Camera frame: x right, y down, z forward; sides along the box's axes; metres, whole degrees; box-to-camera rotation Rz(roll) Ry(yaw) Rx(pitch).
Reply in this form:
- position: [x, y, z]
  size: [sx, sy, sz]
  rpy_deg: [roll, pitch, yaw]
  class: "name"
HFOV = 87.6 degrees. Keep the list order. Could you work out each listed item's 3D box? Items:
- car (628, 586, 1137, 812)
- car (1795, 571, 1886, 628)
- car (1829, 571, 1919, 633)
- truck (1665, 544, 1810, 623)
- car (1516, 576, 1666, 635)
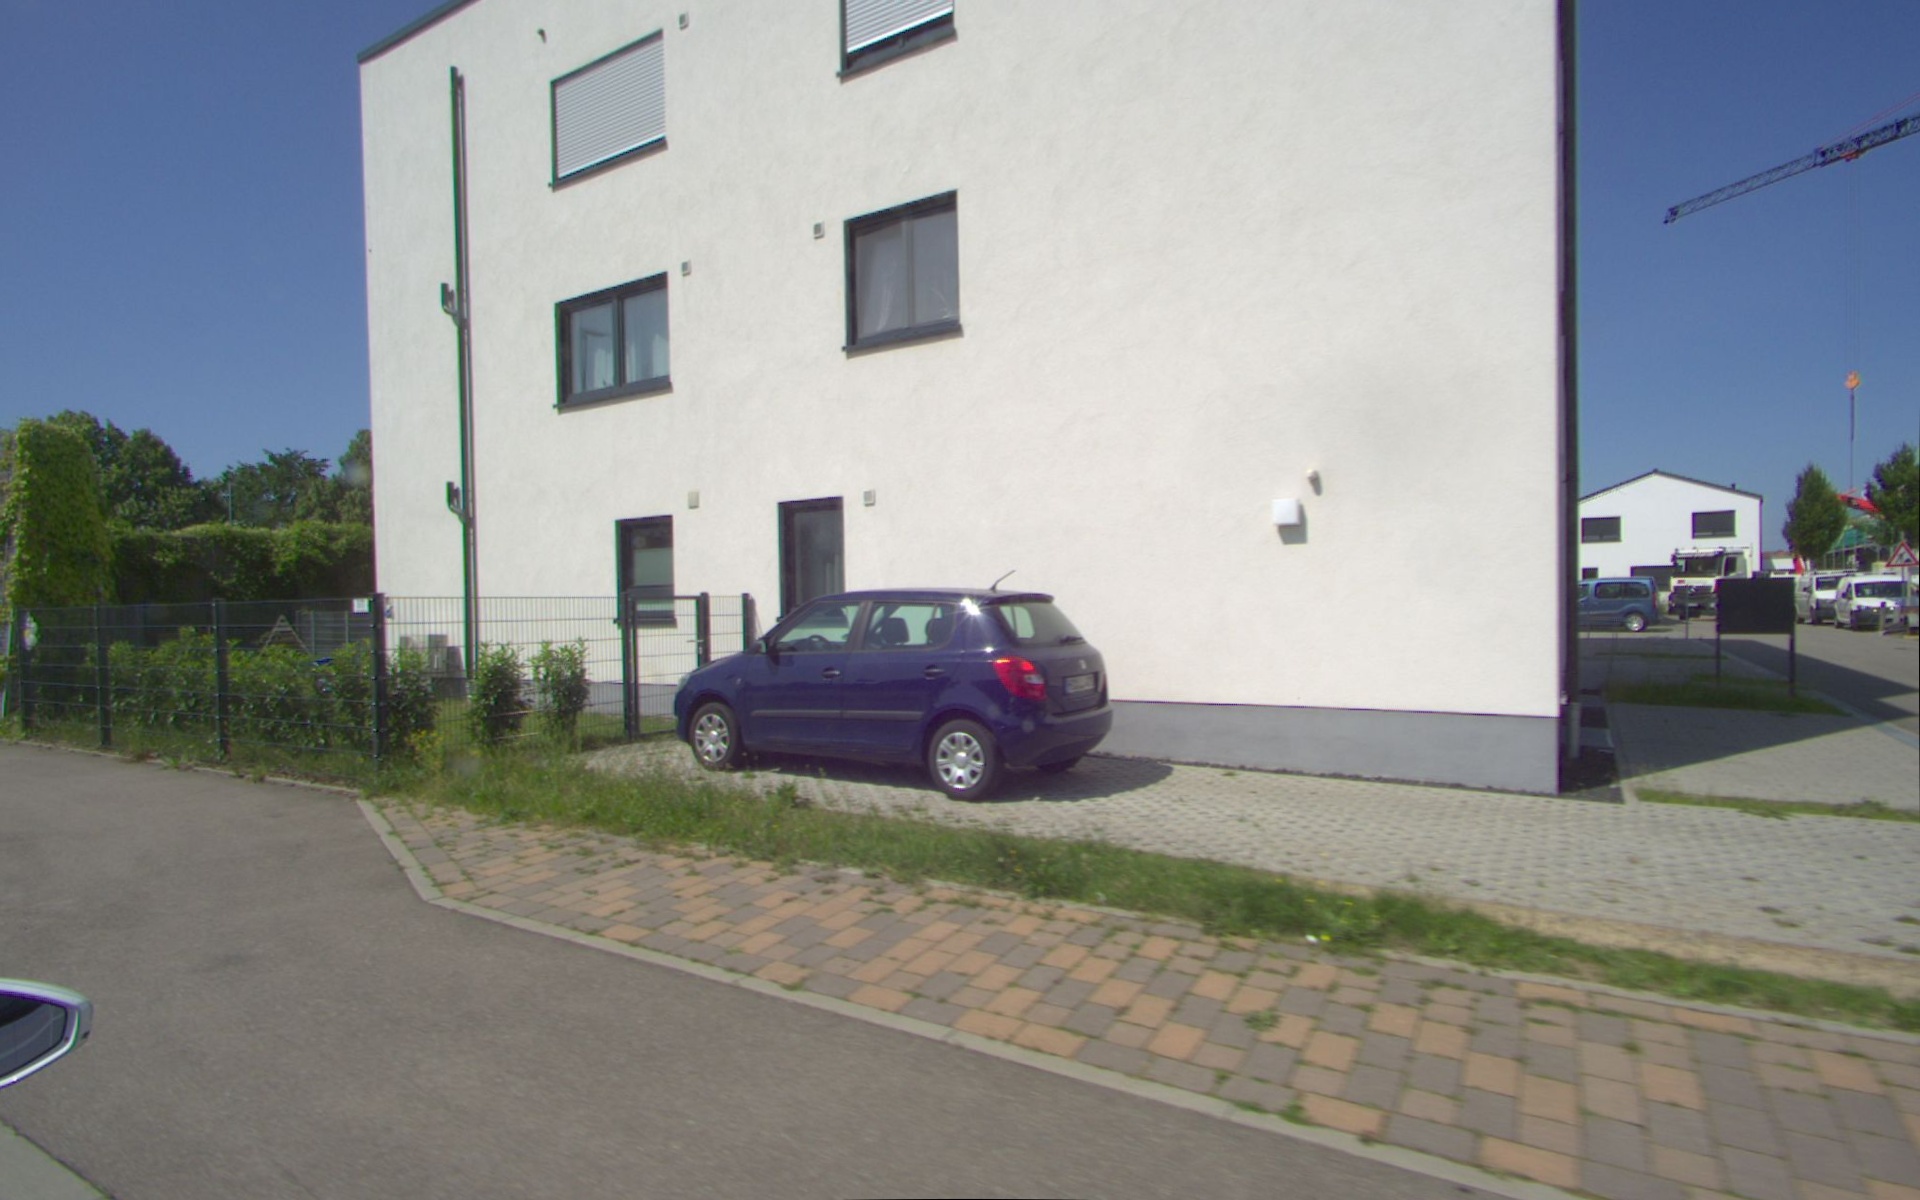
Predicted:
- position: [-0.739, 0.655, 8.377]
  size: [4.056, 1.489, 1.674]
  rpy_deg: [0, 0, 32]
  class: "car"
- position: [33.537, -0.026, 38.253]
  size: [1.856, 2.006, 4.586]
  rpy_deg: [-1, 0, 32]
  class: "car"
- position: [30.027, 0.049, 32.689]
  size: [1.856, 1.861, 4.149]
  rpy_deg: [-1, 0, 32]
  class: "car"
- position: [35.993, -0.780, 46.307]
  size: [6.858, 3.435, 2.292]
  rpy_deg: [-1, -1, -25]
  class: "truck"
- position: [21.075, 0.208, 33.506]
  size: [4.118, 1.834, 1.870]
  rpy_deg: [-2, 0, 37]
  class: "car"
